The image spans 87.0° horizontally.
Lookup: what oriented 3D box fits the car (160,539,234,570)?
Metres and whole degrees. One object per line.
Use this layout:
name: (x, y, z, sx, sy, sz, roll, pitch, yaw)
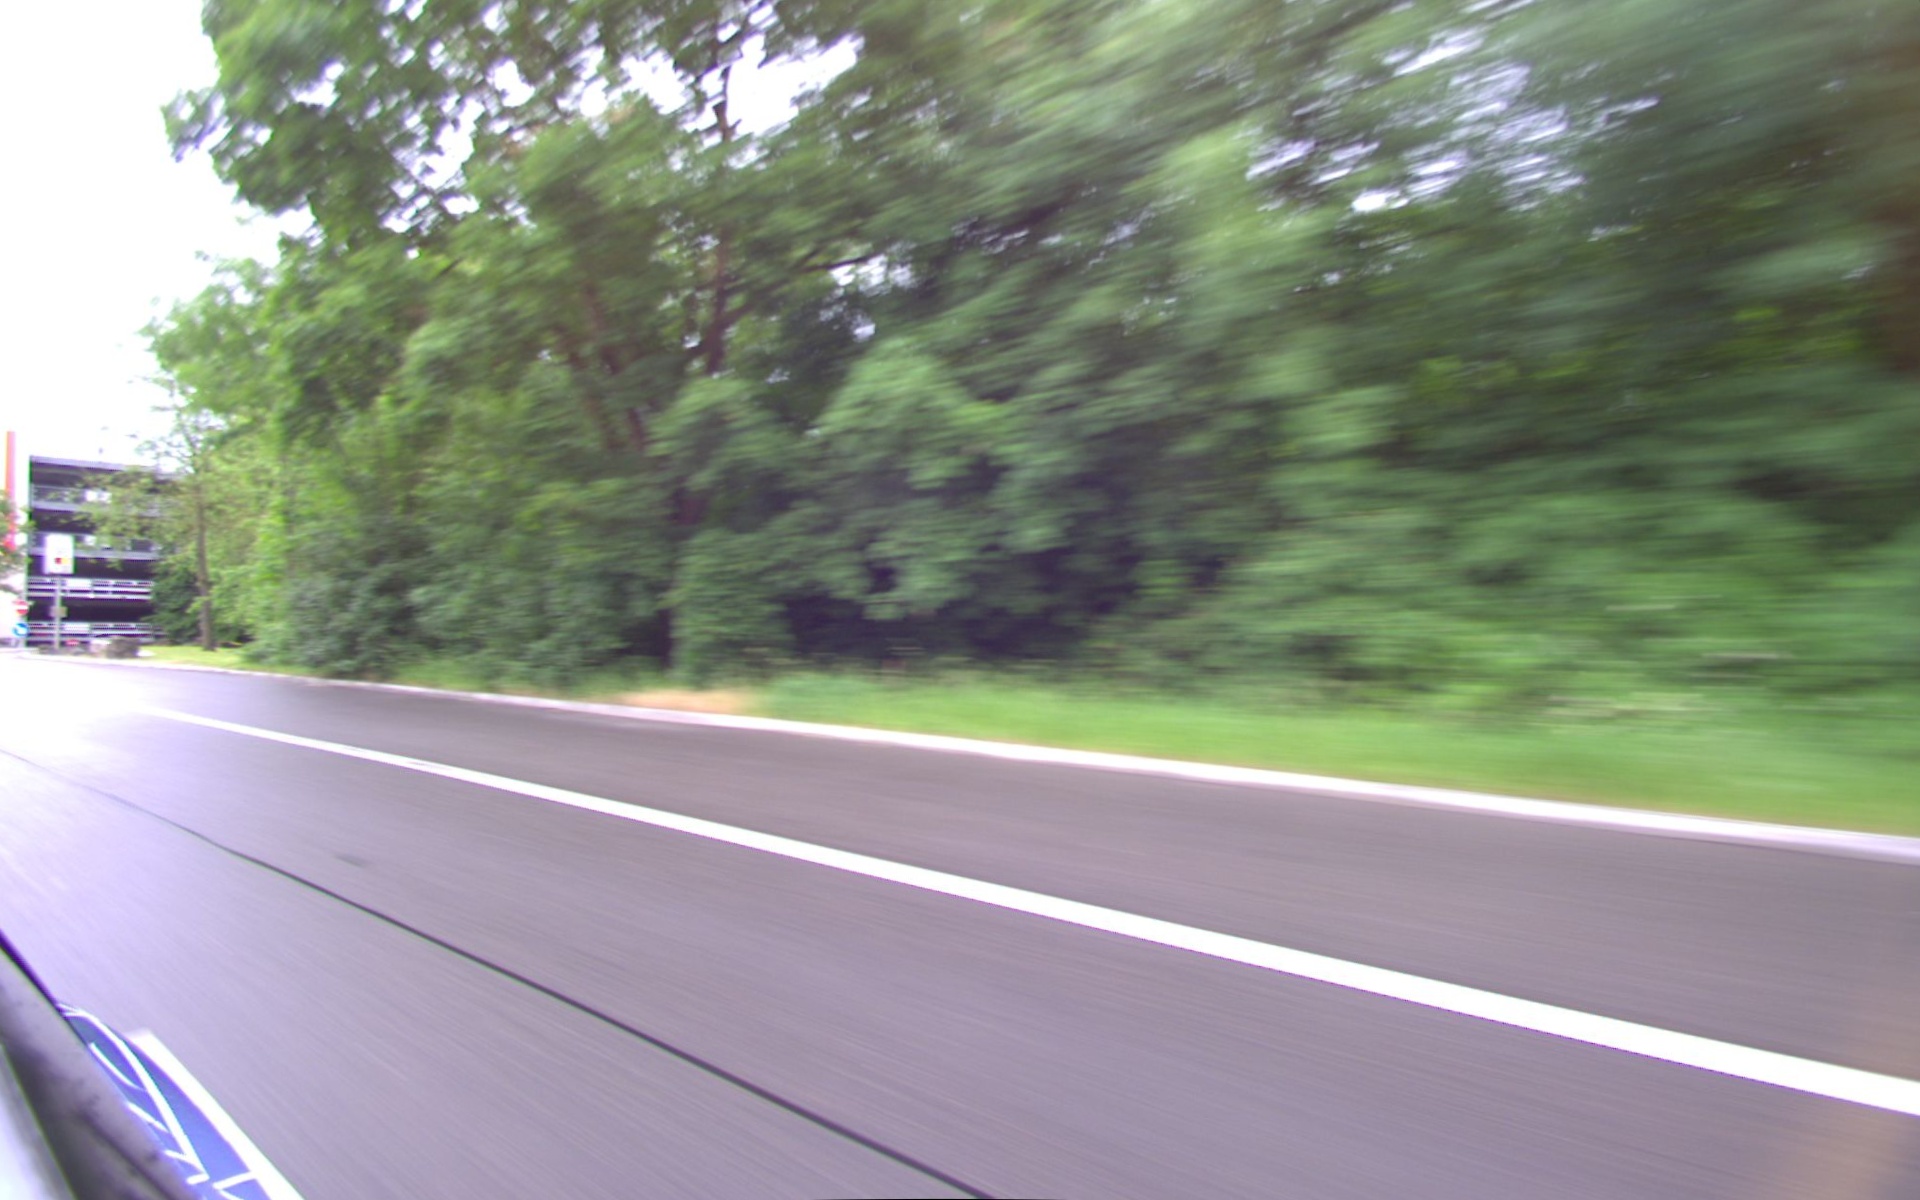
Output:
car: (-53.548, -3.144, 71.053, 3.939, 1.785, 2.002, 2, -4, -43)
